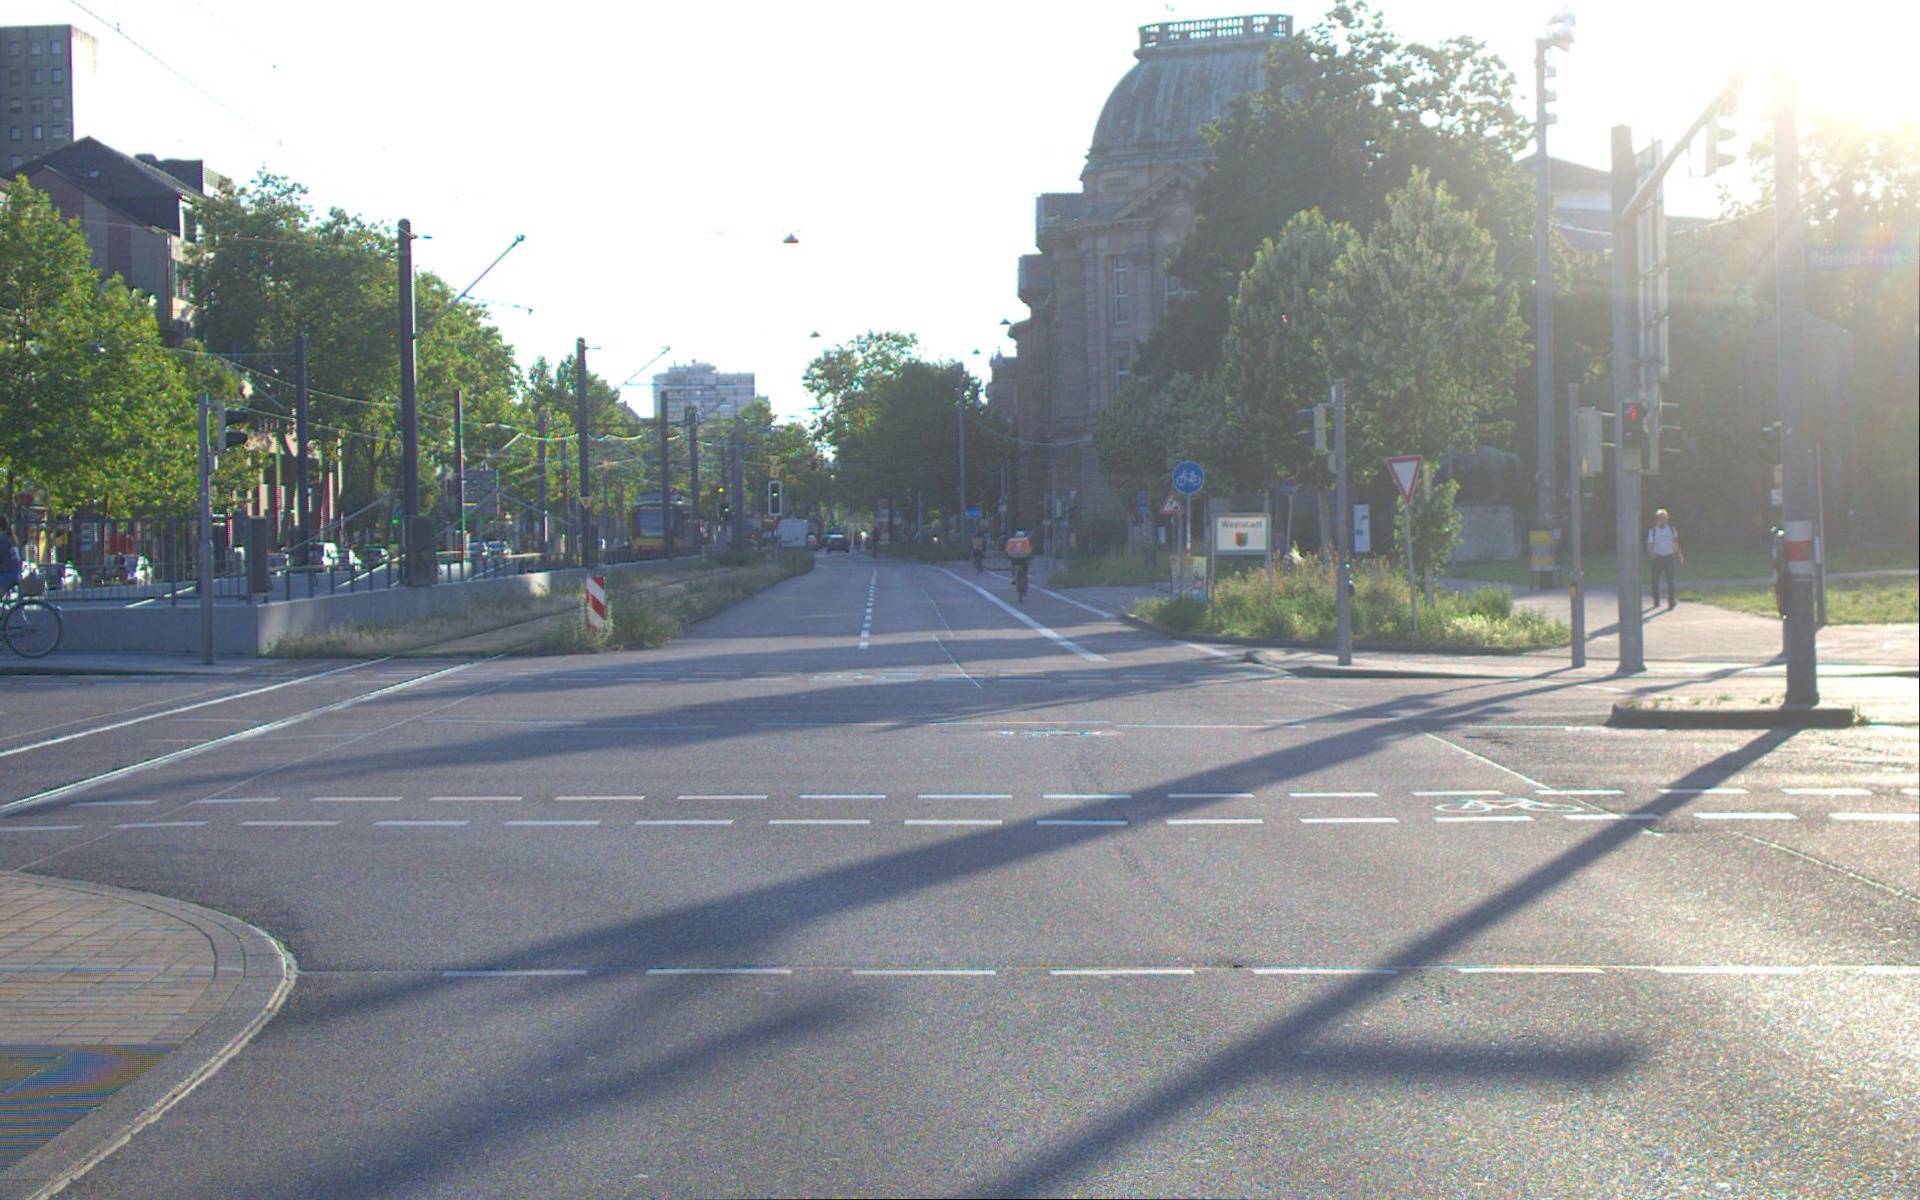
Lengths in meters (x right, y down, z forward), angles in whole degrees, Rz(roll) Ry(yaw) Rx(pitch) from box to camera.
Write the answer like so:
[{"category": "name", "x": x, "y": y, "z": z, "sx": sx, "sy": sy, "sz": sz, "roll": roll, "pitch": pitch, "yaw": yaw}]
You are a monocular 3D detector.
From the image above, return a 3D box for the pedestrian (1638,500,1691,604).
[{"category": "pedestrian", "x": 12.320, "y": -0.847, "z": 60.120, "sx": 0.833, "sy": 1.797, "sz": 0.810, "roll": -1, "pitch": 1, "yaw": 15}]

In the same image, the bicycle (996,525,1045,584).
[{"category": "bicycle", "x": 1.472, "y": -1.118, "z": 83.979, "sx": 1.098, "sy": 1.394, "sz": 2.832, "roll": -1, "pitch": 1, "yaw": -1}]

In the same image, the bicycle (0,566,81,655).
[{"category": "bicycle", "x": -11.941, "y": 0.130, "z": 42.231, "sx": 2.163, "sy": 1.080, "sz": 0.539, "roll": 0, "pitch": 0, "yaw": -9}]

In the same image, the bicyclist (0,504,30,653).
[{"category": "bicyclist", "x": -11.920, "y": -0.261, "z": 42.220, "sx": 0.876, "sy": 1.812, "sz": 0.538, "roll": -1, "pitch": 1, "yaw": -9}]

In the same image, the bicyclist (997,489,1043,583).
[{"category": "bicyclist", "x": 1.469, "y": -1.555, "z": 83.886, "sx": 1.082, "sy": 2.268, "sz": 0.986, "roll": 0, "pitch": 1, "yaw": -1}]

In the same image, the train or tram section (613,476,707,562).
[{"category": "train or tram section", "x": -14.863, "y": -4.095, "z": 170.808, "sx": 4.385, "sy": 3.836, "sz": 11.413, "roll": -1, "pitch": 3, "yaw": -5}]

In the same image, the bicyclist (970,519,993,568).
[{"category": "bicyclist", "x": 0.890, "y": -2.348, "z": 142.582, "sx": 0.925, "sy": 2.007, "sz": 0.850, "roll": -1, "pitch": 1, "yaw": -1}]

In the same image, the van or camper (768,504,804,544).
[{"category": "van or camper", "x": -12.199, "y": -5.298, "z": 241.558, "sx": 2.449, "sy": 2.761, "sz": 5.601, "roll": -1, "pitch": 1, "yaw": -2}]

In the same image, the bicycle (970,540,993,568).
[{"category": "bicycle", "x": 0.887, "y": -1.909, "z": 142.551, "sx": 0.924, "sy": 1.108, "sz": 2.333, "roll": -1, "pitch": 1, "yaw": -1}]
